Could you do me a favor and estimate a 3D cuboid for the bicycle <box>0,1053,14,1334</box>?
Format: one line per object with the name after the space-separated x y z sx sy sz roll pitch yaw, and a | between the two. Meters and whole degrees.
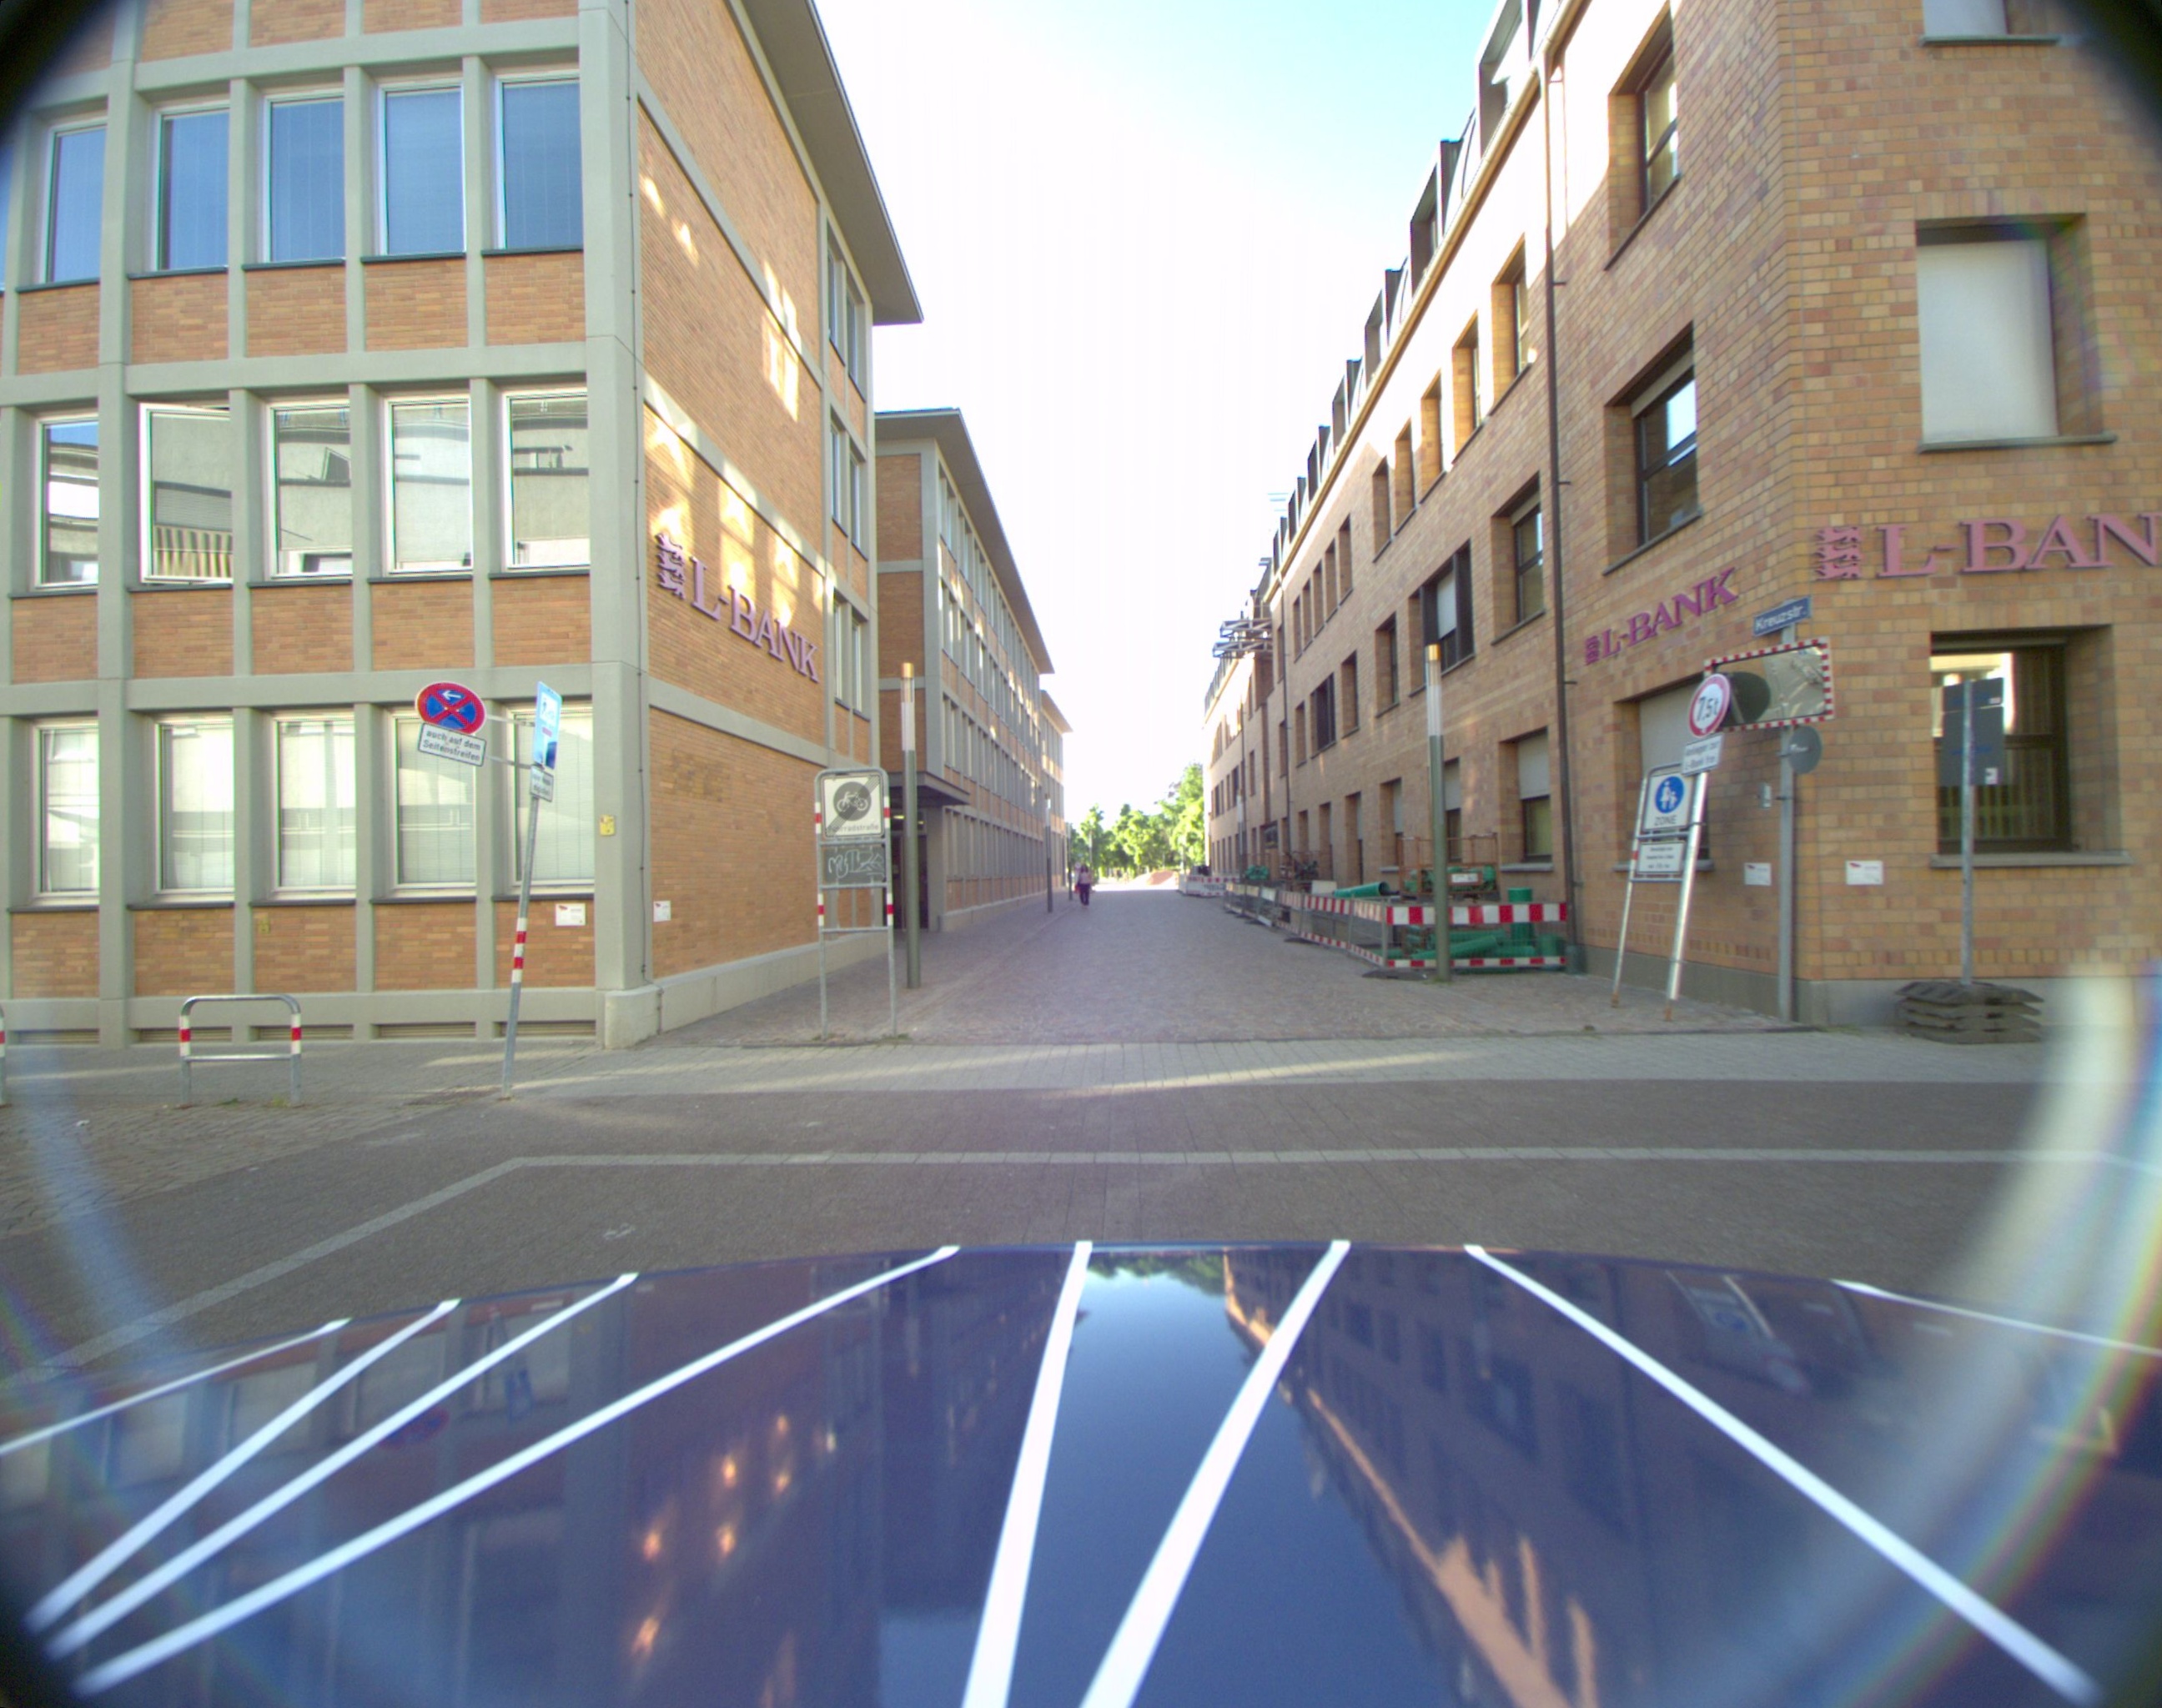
-4.930 1.275 2.451 1.836 1.044 0.573 0 -2 -10 | bicycle

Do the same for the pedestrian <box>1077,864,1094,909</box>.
0.177 1.303 30.431 0.638 1.774 0.653 -1 -3 3 | pedestrian
